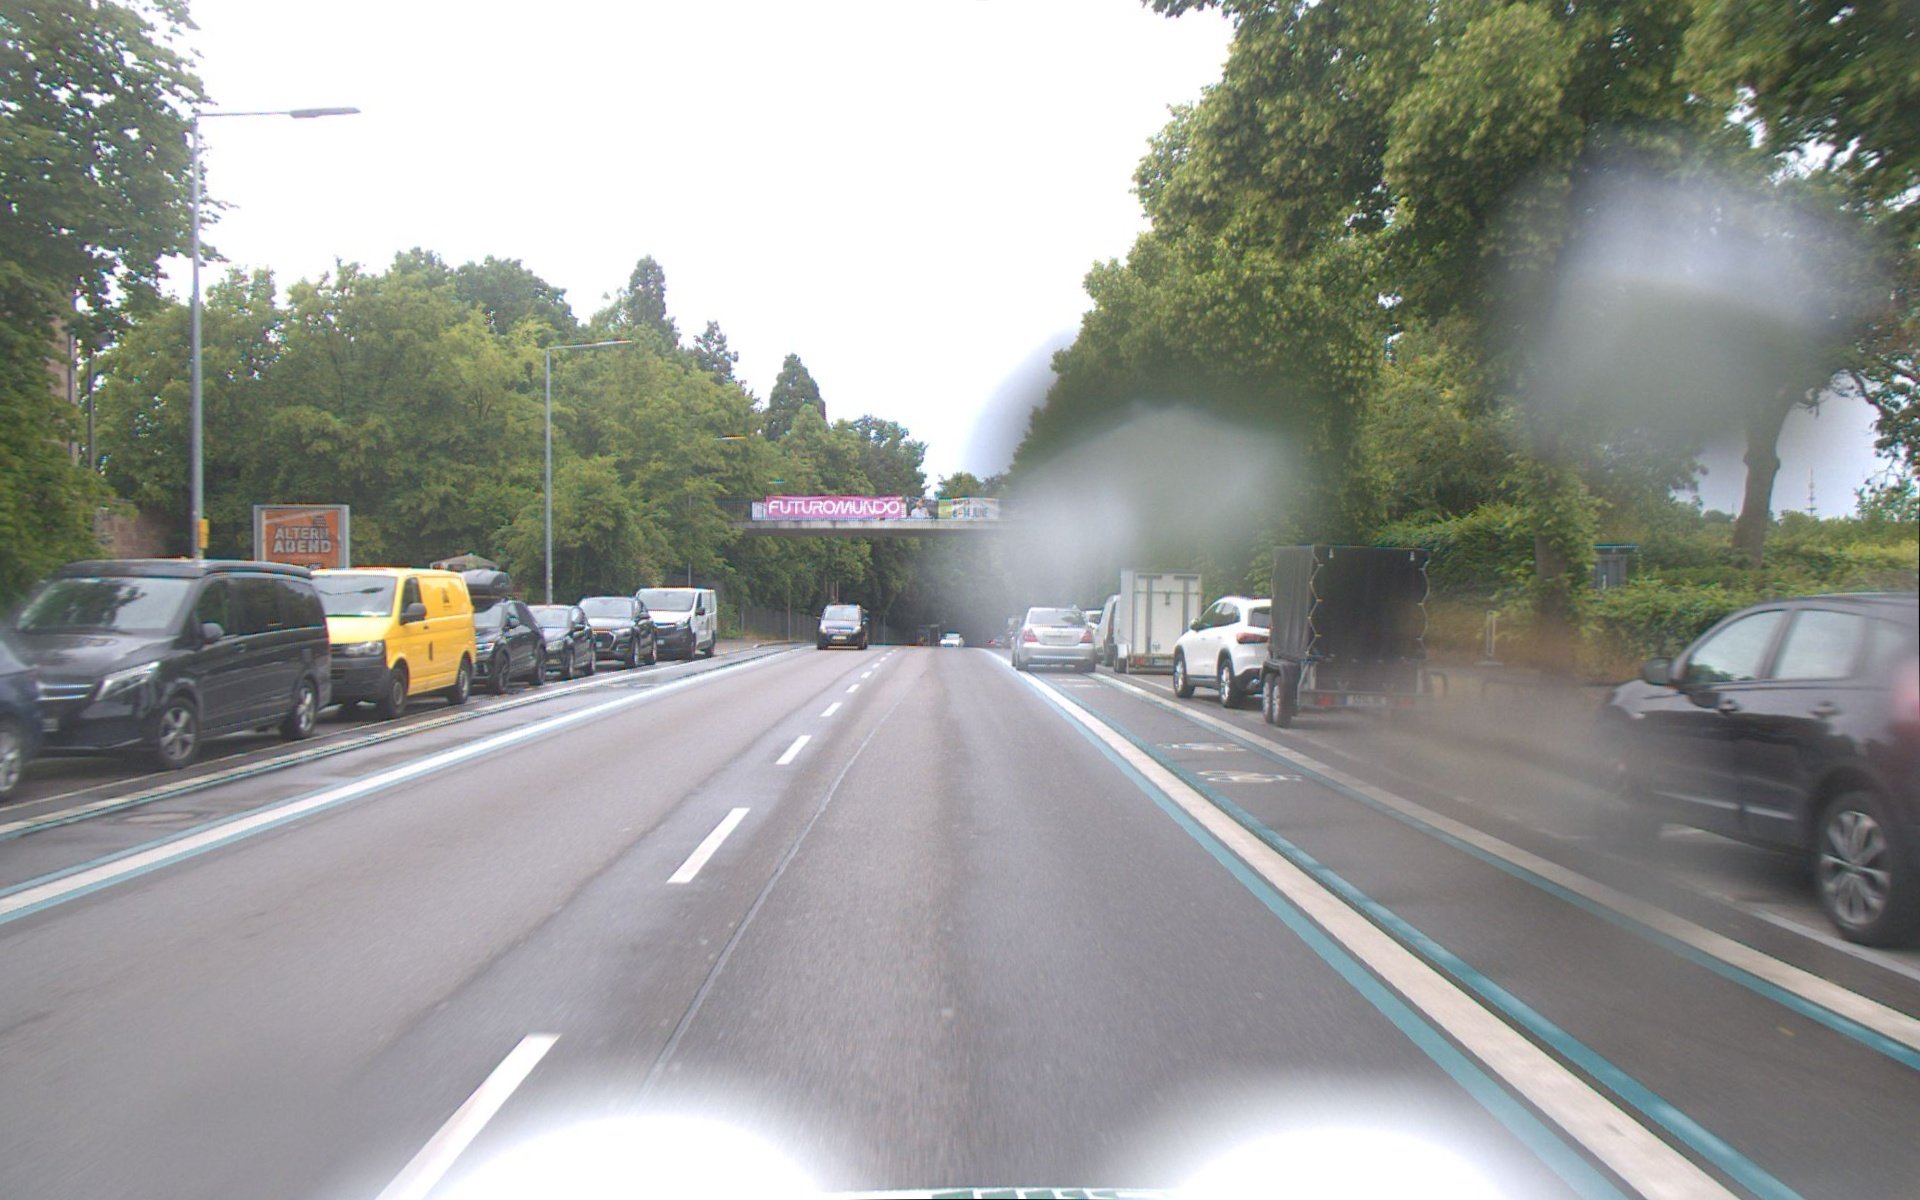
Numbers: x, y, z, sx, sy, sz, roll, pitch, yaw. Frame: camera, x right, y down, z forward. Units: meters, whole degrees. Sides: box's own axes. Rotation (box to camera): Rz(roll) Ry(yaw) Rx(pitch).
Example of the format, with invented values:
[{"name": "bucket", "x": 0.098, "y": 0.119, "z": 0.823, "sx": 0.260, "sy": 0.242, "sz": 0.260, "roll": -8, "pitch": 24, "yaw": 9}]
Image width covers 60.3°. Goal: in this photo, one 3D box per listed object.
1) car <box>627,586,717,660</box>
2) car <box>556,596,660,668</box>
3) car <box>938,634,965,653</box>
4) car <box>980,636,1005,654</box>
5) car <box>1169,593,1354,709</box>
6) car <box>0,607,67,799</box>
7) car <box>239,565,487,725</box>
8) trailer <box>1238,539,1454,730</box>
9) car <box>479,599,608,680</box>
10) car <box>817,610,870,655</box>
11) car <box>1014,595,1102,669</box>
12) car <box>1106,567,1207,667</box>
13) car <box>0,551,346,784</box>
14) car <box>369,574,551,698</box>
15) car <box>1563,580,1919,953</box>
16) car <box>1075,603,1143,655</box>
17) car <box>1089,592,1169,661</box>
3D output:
[{"name": "car", "x": -8.100, "y": 0.595, "z": 46.832, "sx": 1.721, "sy": 1.965, "sz": 4.194, "roll": 0, "pitch": 1, "yaw": 2}, {"name": "car", "x": -8.318, "y": 0.712, "z": 39.385, "sx": 1.833, "sy": 1.569, "sz": 4.052, "roll": 0, "pitch": 1, "yaw": -4}, {"name": "car", "x": -0.789, "y": 3.947, "z": 149.776, "sx": 1.948, "sy": 1.633, "sz": 4.057, "roll": 0, "pitch": 0, "yaw": 7}, {"name": "car", "x": 3.065, "y": 4.207, "z": 154.381, "sx": 2.095, "sy": 1.518, "sz": 4.501, "roll": 1, "pitch": 1, "yaw": 5}, {"name": "car", "x": 4.473, "y": 0.702, "z": 25.150, "sx": 1.697, "sy": 1.611, "sz": 4.149, "roll": 0, "pitch": 0, "yaw": -6}, {"name": "car", "x": -8.011, "y": 0.804, "z": 11.166, "sx": 1.696, "sy": 1.414, "sz": 4.369, "roll": 0, "pitch": 1, "yaw": -2}, {"name": "car", "x": -8.073, "y": 0.517, "z": 22.888, "sx": 1.845, "sy": 1.979, "sz": 4.824, "roll": 0, "pitch": 1, "yaw": -2}, {"name": "trailer", "x": 4.789, "y": 0.385, "z": 21.042, "sx": 1.845, "sy": 2.204, "sz": 3.807, "roll": 0, "pitch": 0, "yaw": 0}, {"name": "car", "x": -8.347, "y": 0.752, "z": 33.465, "sx": 1.848, "sy": 1.476, "sz": 3.980, "roll": 0, "pitch": 1, "yaw": -4}, {"name": "car", "x": -4.213, "y": 1.143, "z": 59.930, "sx": 1.832, "sy": 1.499, "sz": 4.051, "roll": -1, "pitch": 0, "yaw": -4}, {"name": "car", "x": 2.212, "y": 0.685, "z": 38.224, "sx": 1.696, "sy": 1.611, "sz": 4.035, "roll": 0, "pitch": 0, "yaw": -1}, {"name": "car", "x": 4.411, "y": 0.357, "z": 37.643, "sx": 1.850, "sy": 2.164, "sz": 4.045, "roll": 0, "pitch": 0, "yaw": 0}, {"name": "car", "x": -8.041, "y": 0.530, "z": 16.628, "sx": 1.950, "sy": 1.980, "sz": 5.141, "roll": 0, "pitch": 1, "yaw": -2}, {"name": "car", "x": -8.341, "y": 0.531, "z": 27.962, "sx": 1.950, "sy": 1.926, "sz": 4.053, "roll": 0, "pitch": 1, "yaw": -2}, {"name": "car", "x": 4.928, "y": 0.738, "z": 8.844, "sx": 1.696, "sy": 1.611, "sz": 4.152, "roll": 2, "pitch": 0, "yaw": -3}, {"name": "car", "x": 4.446, "y": 0.836, "z": 49.902, "sx": 1.695, "sy": 1.488, "sz": 4.045, "roll": 0, "pitch": 0, "yaw": 0}, {"name": "car", "x": 4.346, "y": 0.642, "z": 43.046, "sx": 1.695, "sy": 1.713, "sz": 4.045, "roll": 0, "pitch": 0, "yaw": 0}]
